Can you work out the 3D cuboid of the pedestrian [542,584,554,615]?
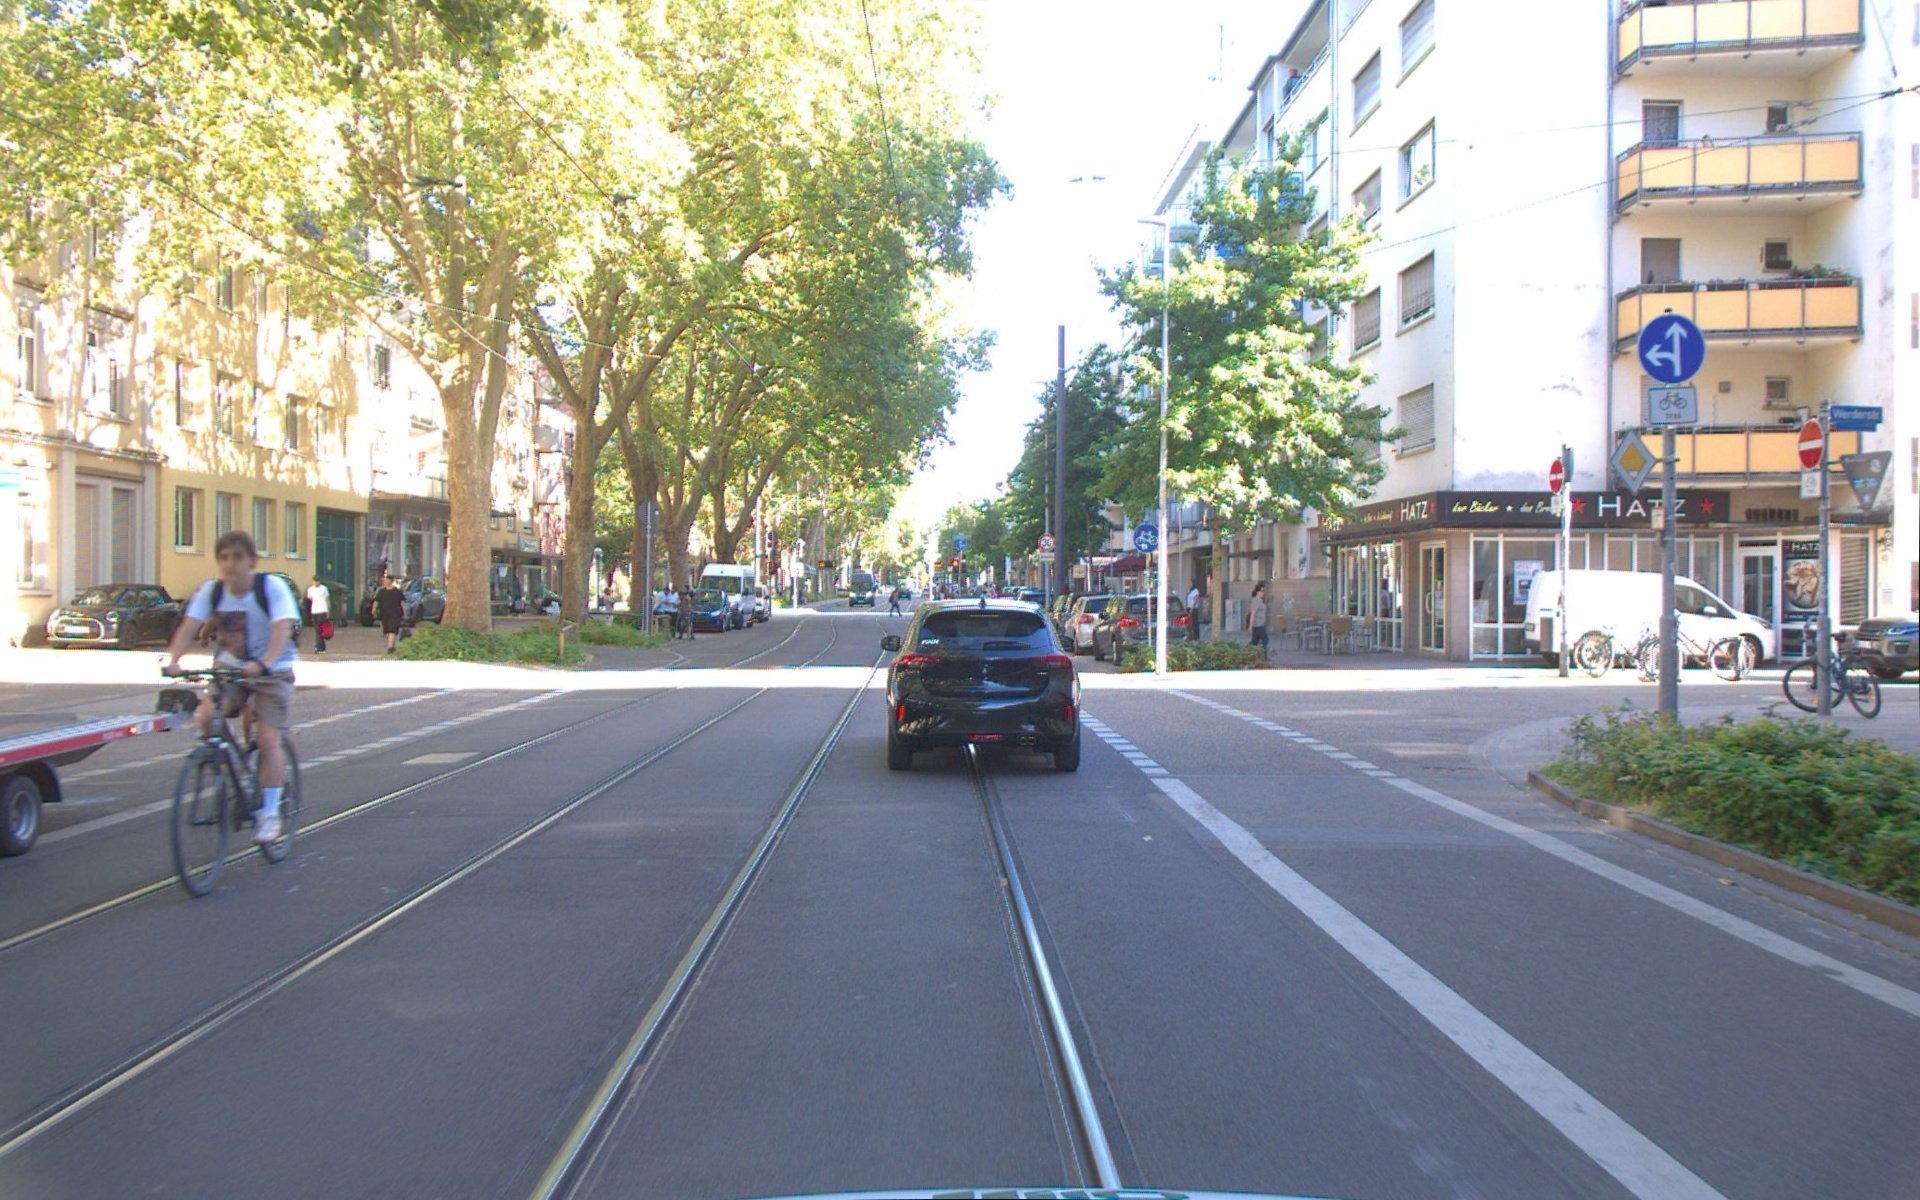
[{"bbox_3d":[-20.965,-0.023,84.127,0.497,1.610,0.526,0,0,-4],"label":"pedestrian"}]

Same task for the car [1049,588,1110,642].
[{"bbox_3d":[3.673,0.438,51.354,1.683,1.601,3.682,0,0,0],"label":"car"}]

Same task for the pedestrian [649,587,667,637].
[{"bbox_3d":[-9.751,0.374,53.388,0.497,1.610,0.526,0,0,-5],"label":"pedestrian"}]

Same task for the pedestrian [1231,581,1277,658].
[{"bbox_3d":[6.334,0.415,35.627,0.838,1.645,0.770,0,0,24],"label":"pedestrian"}]

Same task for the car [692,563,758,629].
[{"bbox_3d":[-9.814,-0.192,69.504,2.050,2.629,5.995,0,0,-2],"label":"car"}]

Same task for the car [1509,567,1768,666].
[{"bbox_3d":[13.265,0.306,32.483,4.274,1.863,1.998,0,0,-5],"label":"car"}]

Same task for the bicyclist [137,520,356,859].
[{"bbox_3d":[-3.764,0.446,8.802,0.768,1.707,0.957,0,0,-2],"label":"bicyclist"}]

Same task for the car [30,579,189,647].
[{"bbox_3d":[-19.647,0.274,38.381,1.647,1.489,3.999,0,0,-1],"label":"car"}]

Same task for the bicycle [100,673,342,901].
[{"bbox_3d":[-3.876,0.933,8.838,0.510,0.979,1.928,0,0,-3],"label":"bicycle"}]

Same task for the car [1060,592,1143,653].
[{"bbox_3d":[3.660,0.547,43.307,1.684,1.516,3.680,0,0,-3],"label":"car"}]

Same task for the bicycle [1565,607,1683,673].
[{"bbox_3d":[11.674,0.705,29.125,1.797,1.136,0.703,0,0,1],"label":"bicycle"}]

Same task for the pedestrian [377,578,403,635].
[{"bbox_3d":[-16.702,0.184,48.475,0.540,1.681,0.649,0,0,2],"label":"pedestrian"}]

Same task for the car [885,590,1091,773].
[{"bbox_3d":[0.177,0.663,15.295,1.646,1.447,3.626,2,0,-2],"label":"car"}]

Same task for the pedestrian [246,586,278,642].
[{"bbox_3d":[-17.841,0.354,42.283,0.540,1.427,0.649,0,0,2],"label":"pedestrian"}]

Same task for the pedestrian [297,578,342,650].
[{"bbox_3d":[-14.772,0.321,38.165,0.830,1.661,0.643,0,0,-7],"label":"pedestrian"}]

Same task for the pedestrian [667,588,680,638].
[{"bbox_3d":[-9.290,0.423,53.682,0.339,1.610,0.508,0,0,-3],"label":"pedestrian"}]

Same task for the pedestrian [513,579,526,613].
[{"bbox_3d":[-21.391,-0.202,80.307,0.542,1.610,0.573,0,0,-6],"label":"pedestrian"}]

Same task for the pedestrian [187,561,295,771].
[{"bbox_3d":[-6.313,0.554,14.558,0.699,1.765,0.909,-1,1,-15],"label":"pedestrian"}]

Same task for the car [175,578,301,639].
[{"bbox_3d":[-19.433,0.215,44.703,1.647,1.543,3.999,1,0,-1],"label":"car"}]

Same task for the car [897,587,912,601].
[{"bbox_3d":[-6.765,-0.759,201.774,1.714,1.680,4.000,0,0,0],"label":"car"}]

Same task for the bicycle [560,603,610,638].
[{"bbox_3d":[-12.138,0.660,53.482,1.659,1.080,0.452,2,-1,29],"label":"bicycle"}]

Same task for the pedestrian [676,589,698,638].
[{"bbox_3d":[-8.968,0.439,54.352,0.670,1.610,0.557,0,0,-3],"label":"pedestrian"}]

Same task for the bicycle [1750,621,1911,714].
[{"bbox_3d":[10.671,0.804,20.364,0.787,1.033,1.966,-1,0,-7],"label":"bicycle"}]

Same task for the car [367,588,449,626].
[{"bbox_3d":[-19.375,0.223,58.195,1.661,1.298,3.827,0,1,-1],"label":"car"}]

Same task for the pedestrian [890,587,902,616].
[{"bbox_3d":[-3.583,0.069,92.937,0.583,1.618,0.891,0,0,-8],"label":"pedestrian"}]

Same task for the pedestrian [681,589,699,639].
[{"bbox_3d":[-8.774,0.444,53.735,0.496,1.610,0.526,0,0,-2],"label":"pedestrian"}]

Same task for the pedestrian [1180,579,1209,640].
[{"bbox_3d":[6.906,0.284,48.765,0.776,1.779,0.770,0,0,1],"label":"pedestrian"}]

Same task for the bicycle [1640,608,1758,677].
[{"bbox_3d":[12.520,0.712,28.043,1.734,1.136,0.614,0,0,12],"label":"bicycle"}]

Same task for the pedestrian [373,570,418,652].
[{"bbox_3d":[-13.212,0.262,38.734,0.888,1.901,0.643,0,0,-7],"label":"pedestrian"}]

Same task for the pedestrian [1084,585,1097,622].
[{"bbox_3d":[6.359,0.168,80.727,0.616,1.763,0.632,0,0,4],"label":"pedestrian"}]

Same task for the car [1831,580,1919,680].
[{"bbox_3d":[17.227,0.485,28.106,3.924,1.634,1.803,0,0,-2],"label":"car"}]

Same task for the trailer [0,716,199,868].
[{"bbox_3d":[-6.389,1.216,8.607,2.117,0.643,6.397,-2,0,-2],"label":"trailer"}]

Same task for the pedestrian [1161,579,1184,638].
[{"bbox_3d":[6.111,0.250,47.584,0.588,1.680,0.631,0,0,0],"label":"pedestrian"}]

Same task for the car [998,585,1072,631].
[{"bbox_3d":[2.780,0.275,61.803,1.957,1.668,3.991,0,0,-10],"label":"car"}]

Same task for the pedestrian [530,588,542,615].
[{"bbox_3d":[-21.624,0.067,84.388,0.497,1.356,0.526,0,0,-4],"label":"pedestrian"}]

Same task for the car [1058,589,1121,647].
[{"bbox_3d":[3.689,0.484,47.481,1.617,1.601,3.084,0,0,0],"label":"car"}]

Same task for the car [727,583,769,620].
[{"bbox_3d":[-10.263,0.061,80.122,1.955,1.747,3.994,0,0,-7],"label":"car"}]

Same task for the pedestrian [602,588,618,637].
[{"bbox_3d":[-11.414,0.400,53.887,0.498,1.610,0.525,0,0,-12],"label":"pedestrian"}]

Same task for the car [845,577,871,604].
[{"bbox_3d":[-8.520,-0.813,137.749,1.955,2.250,5.097,0,0,-5],"label":"car"}]

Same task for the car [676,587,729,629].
[{"bbox_3d":[-9.818,0.273,63.244,1.720,1.534,3.996,0,0,-5],"label":"car"}]

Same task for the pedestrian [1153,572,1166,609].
[{"bbox_3d":[9.409,-0.440,77.987,0.616,1.763,0.632,0,0,5],"label":"pedestrian"}]

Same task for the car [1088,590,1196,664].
[{"bbox_3d":[4.081,0.576,37.740,1.685,1.601,4.080,0,0,-5],"label":"car"}]
